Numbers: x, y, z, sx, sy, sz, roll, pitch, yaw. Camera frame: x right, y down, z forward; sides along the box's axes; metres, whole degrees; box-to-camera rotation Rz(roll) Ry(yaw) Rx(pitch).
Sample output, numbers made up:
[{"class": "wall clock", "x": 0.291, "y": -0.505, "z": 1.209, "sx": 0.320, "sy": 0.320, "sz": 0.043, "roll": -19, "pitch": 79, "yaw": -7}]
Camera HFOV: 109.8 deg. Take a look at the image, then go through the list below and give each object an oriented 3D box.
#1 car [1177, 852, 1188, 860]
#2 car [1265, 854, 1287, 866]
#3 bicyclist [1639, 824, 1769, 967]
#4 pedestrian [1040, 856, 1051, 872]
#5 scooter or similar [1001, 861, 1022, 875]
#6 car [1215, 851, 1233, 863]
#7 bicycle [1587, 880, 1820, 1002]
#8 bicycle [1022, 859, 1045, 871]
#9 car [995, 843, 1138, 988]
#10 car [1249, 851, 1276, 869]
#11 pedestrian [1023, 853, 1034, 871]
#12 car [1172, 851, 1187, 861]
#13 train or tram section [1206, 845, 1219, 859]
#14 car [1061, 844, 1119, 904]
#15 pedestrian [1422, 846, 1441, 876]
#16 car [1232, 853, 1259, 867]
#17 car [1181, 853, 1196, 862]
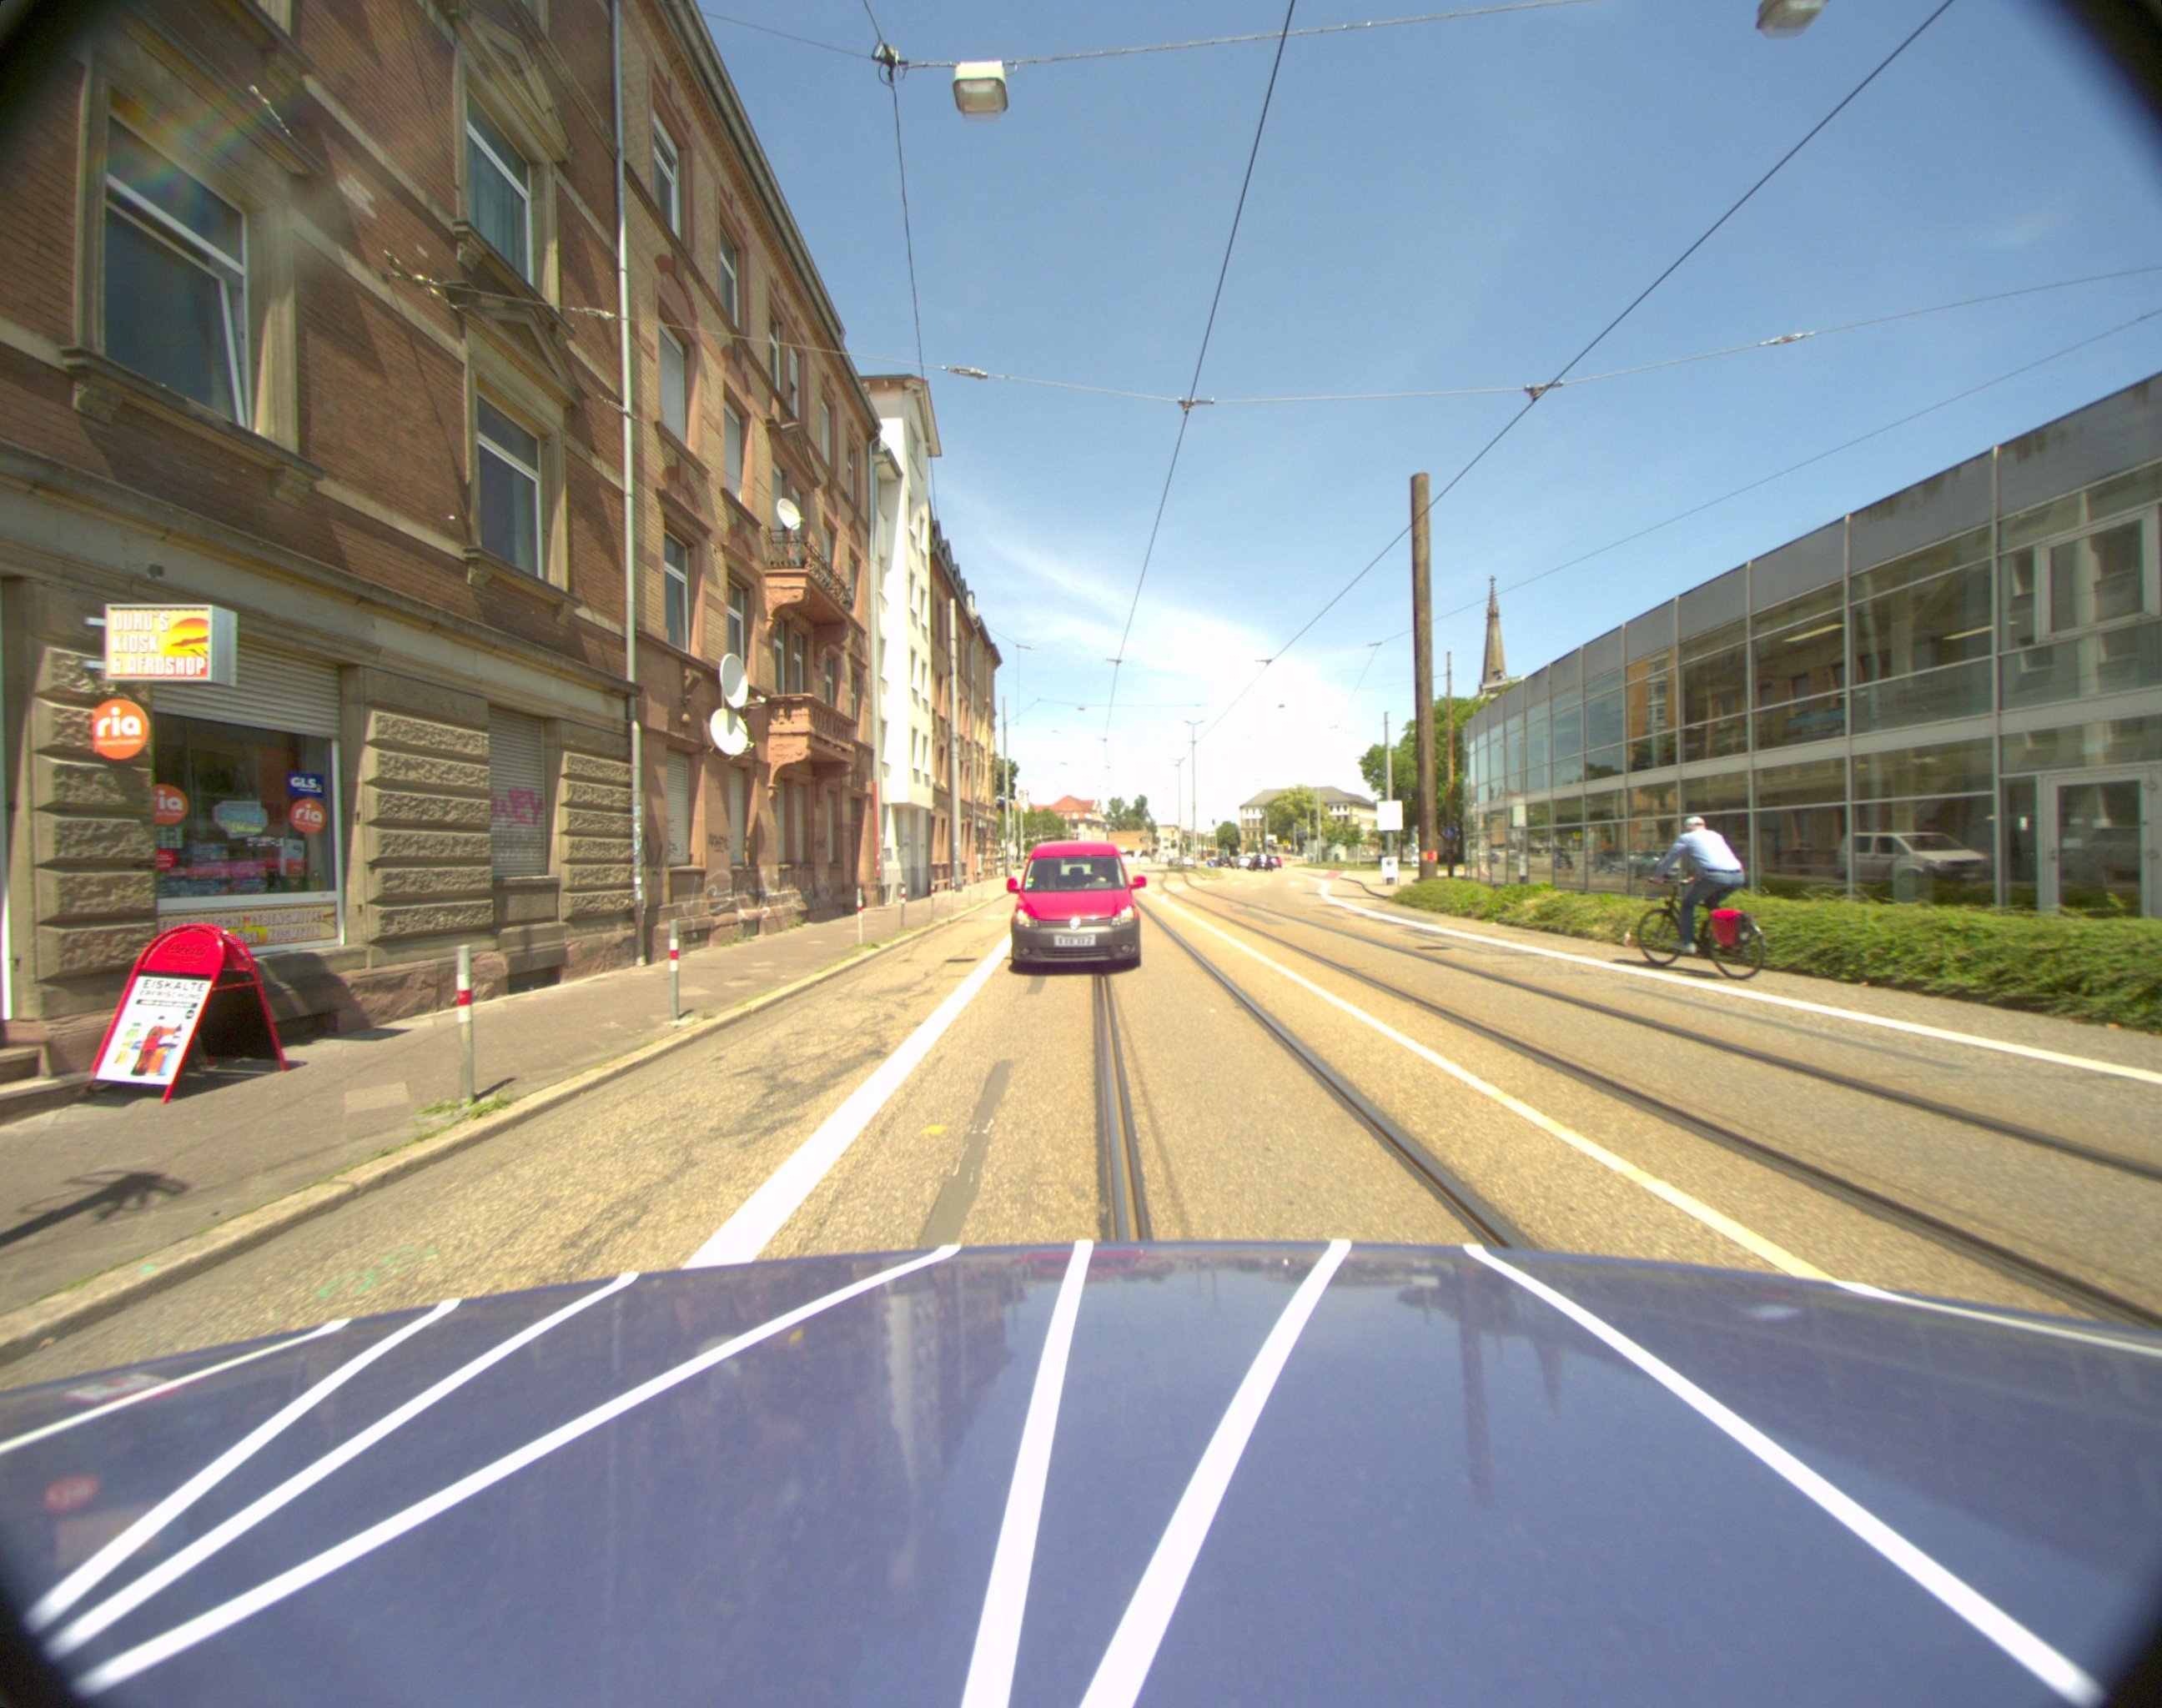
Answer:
[{"class": "car", "x": 19.843, "y": 0.427, "z": 148.814, "sx": 1.552, "sy": 1.527, "sz": 3.679, "roll": -1, "pitch": 0, "yaw": 0}, {"class": "car", "x": 23.718, "y": 0.720, "z": 92.531, "sx": 1.762, "sy": 1.359, "sz": 4.289, "roll": -1, "pitch": 0, "yaw": 3}, {"class": "bicyclist", "x": 7.121, "y": 0.451, "z": 8.738, "sx": 0.699, "sy": 1.539, "sz": 0.980, "roll": -1, "pitch": 0, "yaw": 0}, {"class": "pedestrian", "x": -3.901, "y": 1.089, "z": 84.254, "sx": 0.808, "sy": 1.769, "sz": 0.876, "roll": -1, "pitch": 1, "yaw": 33}, {"class": "scooter or similar", "x": -5.854, "y": 1.185, "z": 64.039, "sx": 1.527, "sy": 1.149, "sz": 0.713, "roll": -1, "pitch": 0, "yaw": -27}, {"class": "car", "x": 17.937, "y": 0.419, "z": 95.371, "sx": 1.675, "sy": 1.453, "sz": 3.904, "roll": 0, "pitch": 0, "yaw": 1}, {"class": "bicycle", "x": 7.123, "y": 0.923, "z": 8.926, "sx": 0.699, "sy": 1.138, "sz": 2.495, "roll": -1, "pitch": 0, "yaw": 0}, {"class": "bicycle", "x": -4.964, "y": 1.165, "z": 79.744, "sx": 2.225, "sy": 1.243, "sz": 1.096, "roll": -1, "pitch": 0, "yaw": -43}, {"class": "car", "x": -0.056, "y": 0.775, "z": 11.564, "sx": 1.755, "sy": 1.802, "sz": 4.098, "roll": -1, "pitch": 0, "yaw": 4}, {"class": "car", "x": 17.304, "y": 0.574, "z": 72.518, "sx": 1.826, "sy": 1.617, "sz": 4.526, "roll": 0, "pitch": 0, "yaw": 4}, {"class": "pedestrian", "x": -5.456, "y": 0.832, "z": 79.298, "sx": 0.826, "sy": 1.765, "sz": 0.812, "roll": -2, "pitch": 2, "yaw": -43}, {"class": "car", "x": 14.391, "y": 0.314, "z": 111.526, "sx": 1.847, "sy": 1.471, "sz": 4.331, "roll": 0, "pitch": 0, "yaw": 2}, {"class": "train or tram section", "x": 30.533, "y": -0.416, "z": 176.051, "sx": 2.839, "sy": 3.195, "sz": 9.117, "roll": -1, "pitch": 0, "yaw": 11}, {"class": "car", "x": 0.305, "y": 0.656, "z": 26.957, "sx": 1.874, "sy": 1.954, "sz": 3.823, "roll": -1, "pitch": 0, "yaw": 1}, {"class": "pedestrian", "x": 19.745, "y": 0.401, "z": 42.828, "sx": 0.729, "sy": 1.632, "sz": 0.820, "roll": -1, "pitch": 0, "yaw": 5}, {"class": "car", "x": 18.158, "y": 0.650, "z": 84.165, "sx": 1.998, "sy": 1.521, "sz": 5.131, "roll": 1, "pitch": 0, "yaw": 1}, {"class": "car", "x": 16.874, "y": 0.523, "z": 119.577, "sx": 1.711, "sy": 1.291, "sz": 4.203, "roll": 1, "pitch": 0, "yaw": 1}]
